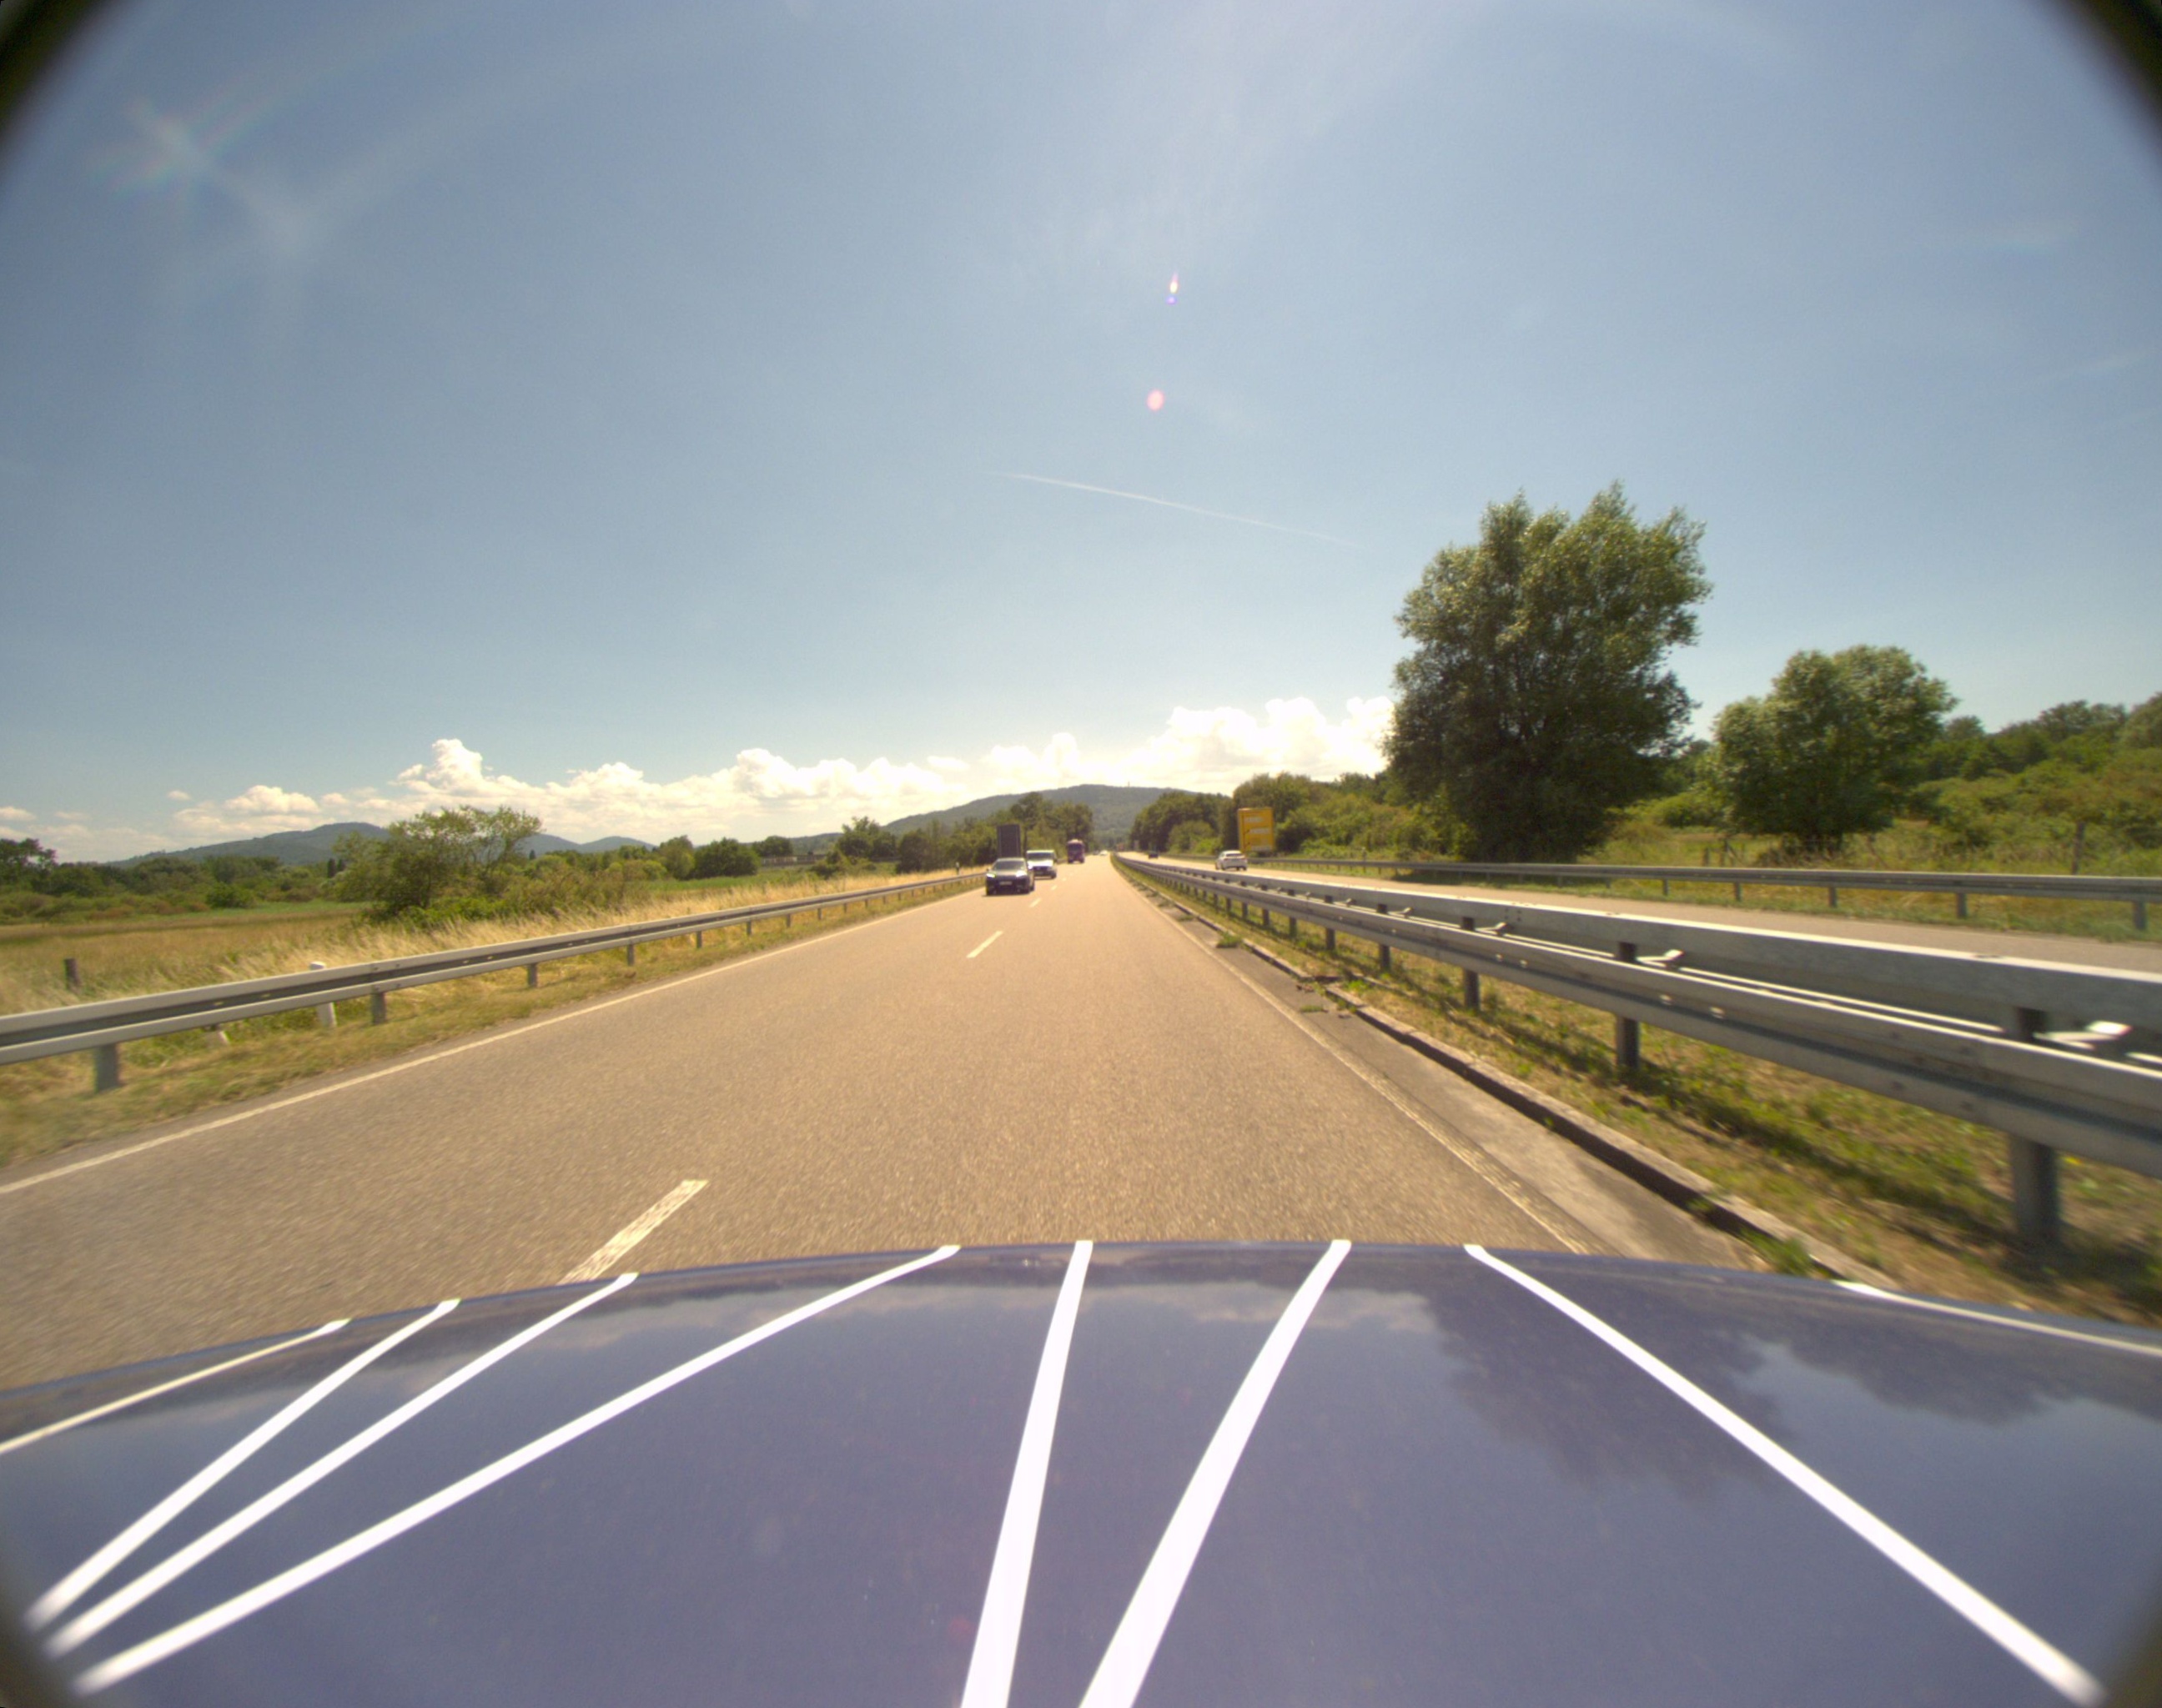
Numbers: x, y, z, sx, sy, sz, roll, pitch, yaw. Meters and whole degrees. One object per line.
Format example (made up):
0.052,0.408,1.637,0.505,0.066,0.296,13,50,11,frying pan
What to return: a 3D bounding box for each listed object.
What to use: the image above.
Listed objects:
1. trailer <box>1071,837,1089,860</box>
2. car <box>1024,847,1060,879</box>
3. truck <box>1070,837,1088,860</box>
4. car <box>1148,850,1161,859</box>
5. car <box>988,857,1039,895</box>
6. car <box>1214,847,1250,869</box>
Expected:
-0.136,-0.826,128.274,2.604,3.608,8.615,-2,0,2,trailer
-2.623,0.607,52.469,2.011,1.977,5.034,-3,0,1,car
-0.284,-0.847,123.453,2.604,3.670,5.940,-2,0,2,truck
14.072,0.117,145.301,1.998,1.627,4.874,-5,0,2,car
-2.876,0.906,33.072,1.789,1.544,4.019,-1,0,1,car
11.055,0.267,55.912,1.831,1.489,4.102,-3,0,1,car
